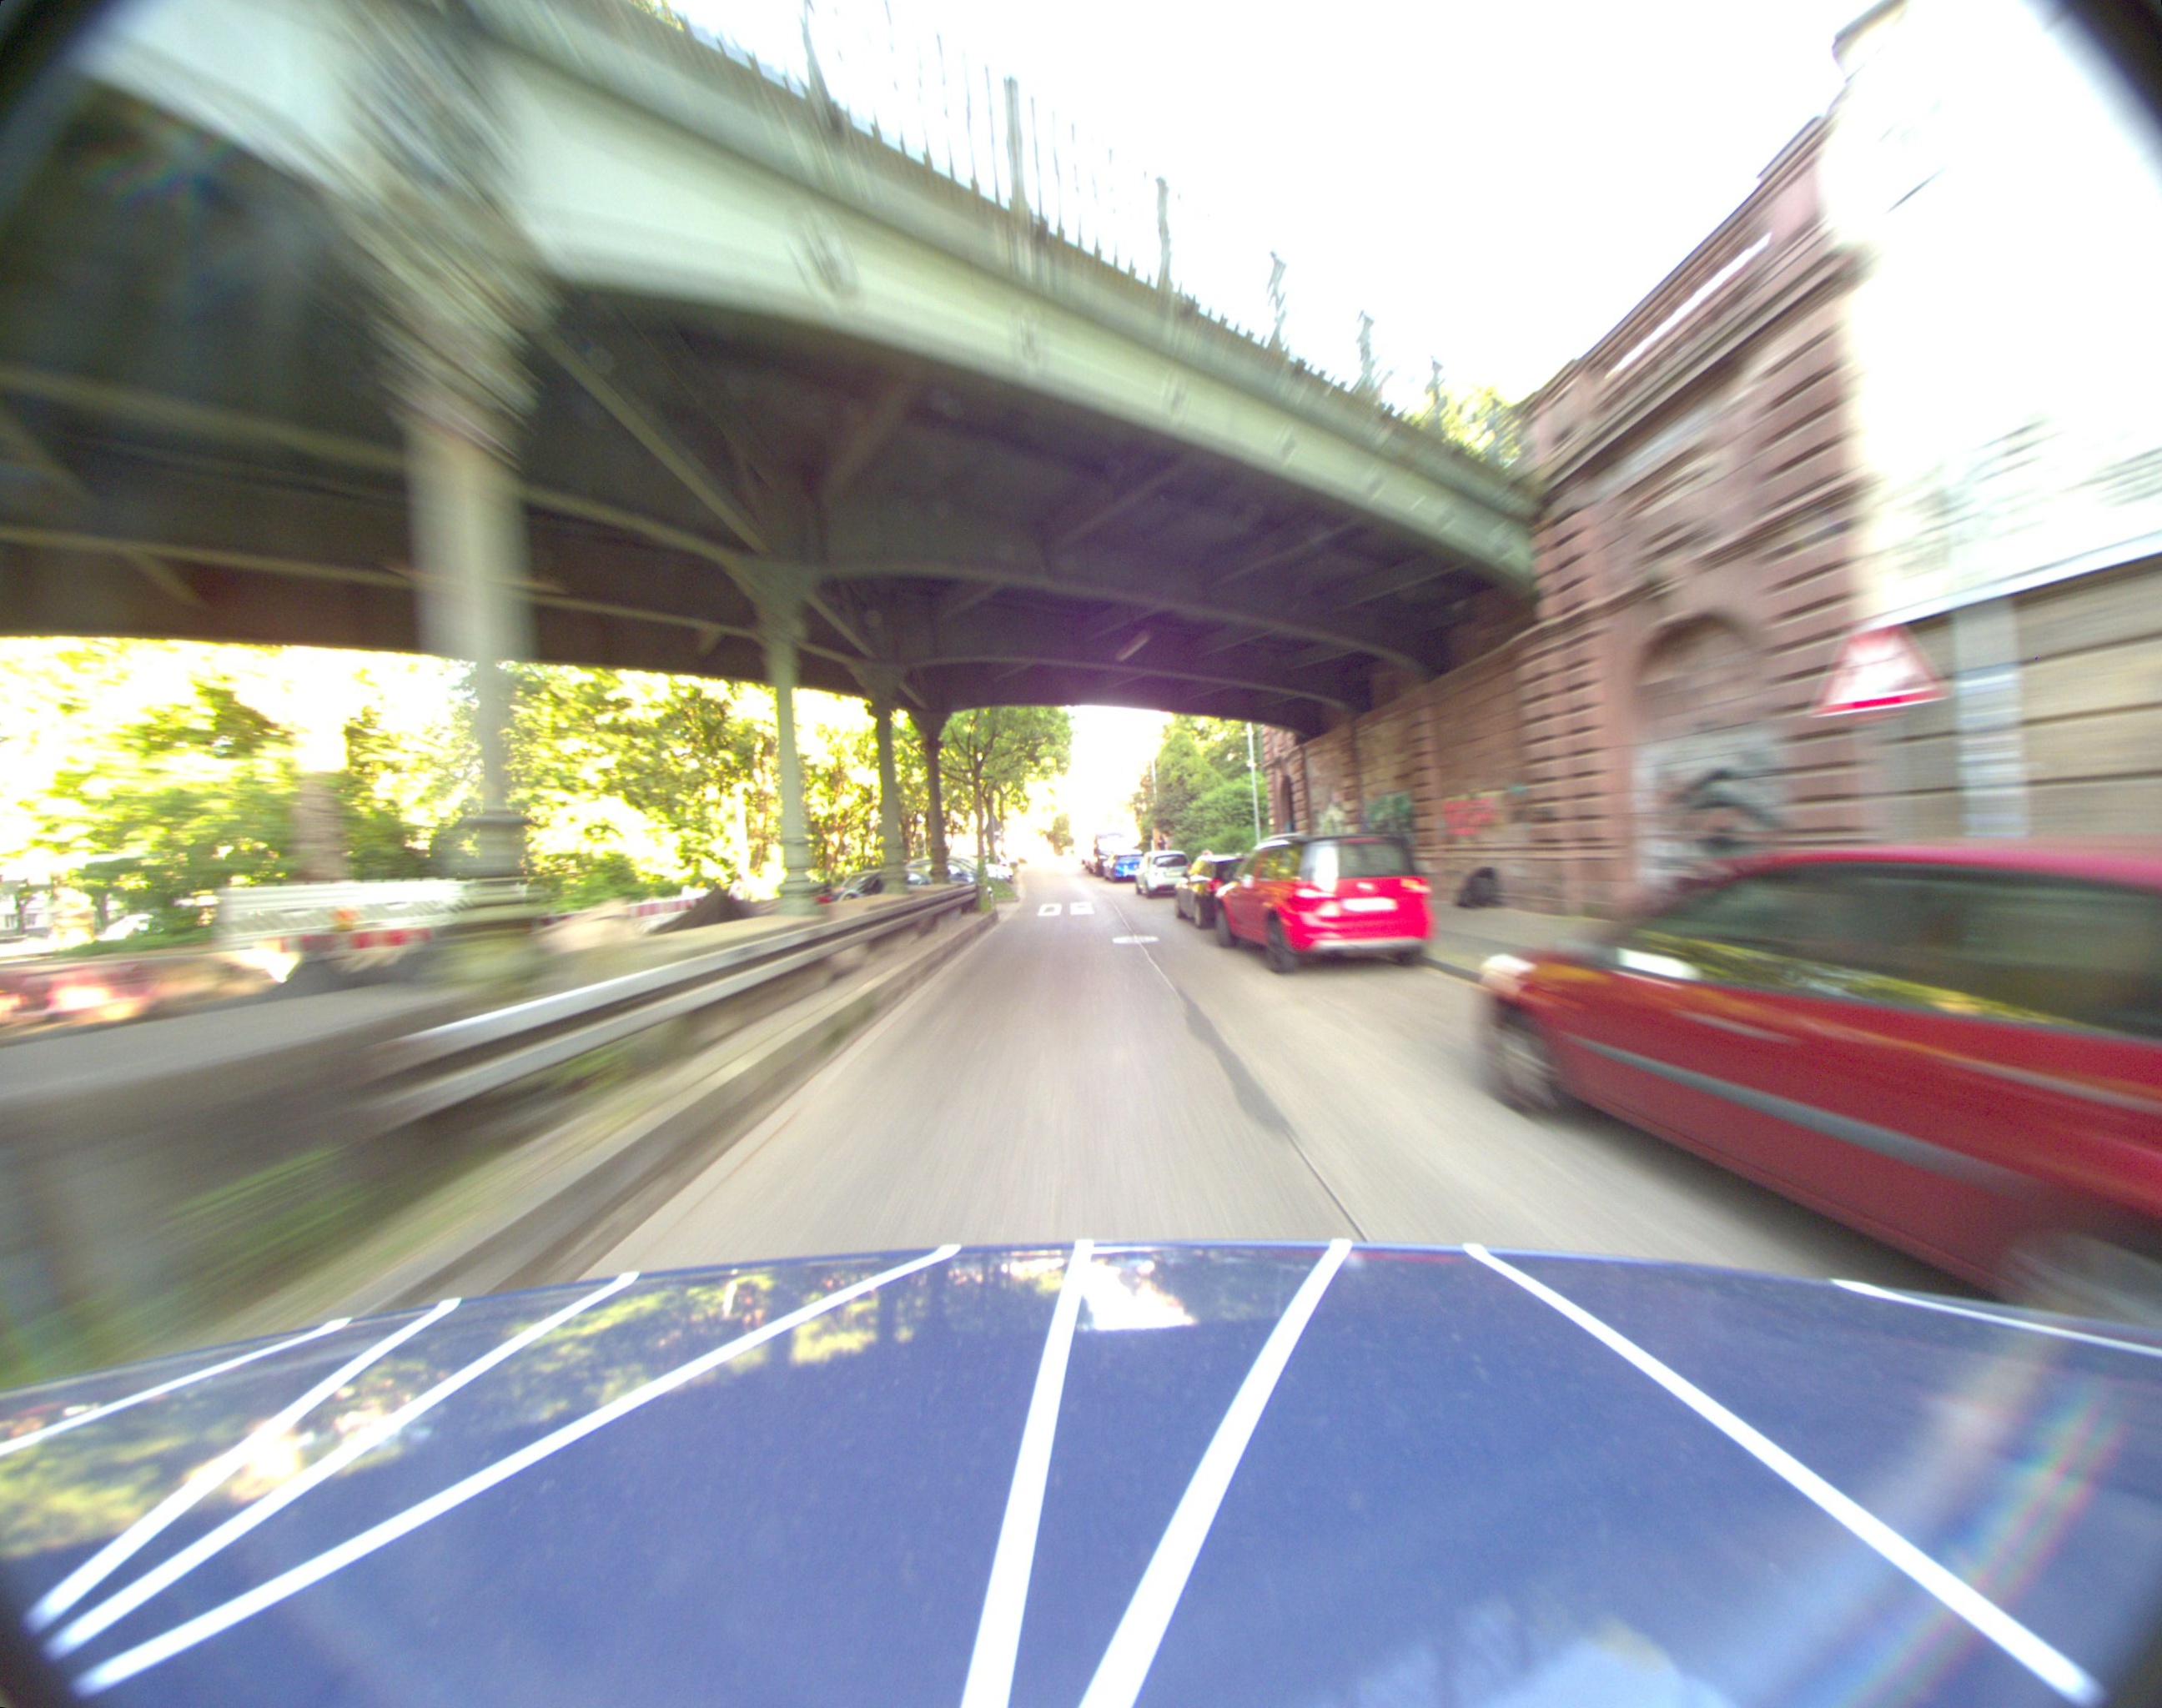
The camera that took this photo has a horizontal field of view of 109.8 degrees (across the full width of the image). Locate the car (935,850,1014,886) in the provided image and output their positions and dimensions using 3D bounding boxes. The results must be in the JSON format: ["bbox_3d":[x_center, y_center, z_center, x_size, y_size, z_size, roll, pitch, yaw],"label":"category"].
[{"bbox_3d":[-5.747,0.748,41.344,4.032,1.565,1.586,-5,2,-3],"label":"car"}]

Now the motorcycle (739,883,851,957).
[{"bbox_3d":[-5.341,1.194,14.235,1.728,1.126,0.711,-7,3,-35],"label":"motorcycle"}]

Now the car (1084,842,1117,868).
[{"bbox_3d":[1.217,0.025,48.433,1.704,1.499,4.226,-3,2,-3],"label":"car"}]

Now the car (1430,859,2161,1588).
[{"bbox_3d":[3.137,0.819,2.856,1.693,1.433,3.999,-4,1,-1],"label":"car"}]

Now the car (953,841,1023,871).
[{"bbox_3d":[-6.517,0.130,53.604,4.684,1.914,1.871,-2,2,-3],"label":"car"}]

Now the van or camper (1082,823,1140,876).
[{"bbox_3d":[1.553,-0.312,42.085,2.242,2.509,6.417,-5,2,-4],"label":"van or camper"}]

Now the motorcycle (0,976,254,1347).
[{"bbox_3d":[-5.084,1.377,3.704,1.602,1.400,0.713,-4,2,19],"label":"motorcycle"}]

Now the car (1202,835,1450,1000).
[{"bbox_3d":[3.000,0.663,10.362,1.721,1.698,4.321,-3,1,-3],"label":"car"}]

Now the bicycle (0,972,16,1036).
[{"bbox_3d":[-15.849,2.137,10.254,1.618,0.853,0.523,-2,0,-33],"label":"bicycle"}]

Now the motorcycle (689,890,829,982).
[{"bbox_3d":[-5.013,1.241,11.892,1.839,1.126,0.849,-6,2,-24],"label":"motorcycle"}]

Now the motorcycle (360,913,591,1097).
[{"bbox_3d":[-5.308,1.300,6.680,1.602,1.400,0.713,-4,2,19],"label":"motorcycle"}]

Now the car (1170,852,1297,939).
[{"bbox_3d":[2.995,0.741,15.717,1.721,1.455,3.999,-3,1,-1],"label":"car"}]

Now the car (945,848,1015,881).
[{"bbox_3d":[-6.122,0.614,46.471,3.998,1.565,1.586,-5,2,-3],"label":"car"}]

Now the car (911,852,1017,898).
[{"bbox_3d":[-5.122,0.910,33.839,4.386,1.524,1.875,-5,2,-3],"label":"car"}]

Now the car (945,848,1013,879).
[{"bbox_3d":[-6.543,0.575,48.821,3.997,1.565,1.665,-5,2,1],"label":"car"}]

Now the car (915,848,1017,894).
[{"bbox_3d":[-5.433,0.773,36.389,4.545,1.686,1.906,-5,2,-3],"label":"car"}]

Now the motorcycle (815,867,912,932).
[{"bbox_3d":[-5.046,1.022,17.626,1.938,1.231,0.903,-6,2,-26],"label":"motorcycle"}]

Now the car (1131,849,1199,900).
[{"bbox_3d":[2.806,0.650,26.266,1.599,1.538,3.913,-3,1,-4],"label":"car"}]

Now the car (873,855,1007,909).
[{"bbox_3d":[-5.233,1.027,28.644,4.597,1.597,1.734,-4,2,2],"label":"car"}]

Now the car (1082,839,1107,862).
[{"bbox_3d":[0.969,-0.264,56.209,1.703,1.489,4.548,-2,2,0],"label":"car"}]

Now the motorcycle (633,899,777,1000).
[{"bbox_3d":[-5.188,1.299,10.607,1.606,1.126,0.711,-6,2,-18],"label":"motorcycle"}]

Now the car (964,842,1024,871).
[{"bbox_3d":[-6.380,0.168,56.200,3.996,1.748,1.798,-5,2,3],"label":"car"}]

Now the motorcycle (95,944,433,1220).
[{"bbox_3d":[-5.049,1.341,4.716,1.602,1.400,0.713,-4,2,19],"label":"motorcycle"}]

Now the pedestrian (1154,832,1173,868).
[{"bbox_3d":[4.524,-0.240,41.653,0.639,1.904,1.046,-5,2,-8],"label":"pedestrian"}]

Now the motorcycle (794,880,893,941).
[{"bbox_3d":[-4.977,1.157,15.939,1.728,1.024,0.810,-7,3,-35],"label":"motorcycle"}]

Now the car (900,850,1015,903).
[{"bbox_3d":[-5.010,0.878,31.328,4.387,1.699,1.905,-5,2,-5],"label":"car"}]

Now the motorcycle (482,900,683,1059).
[{"bbox_3d":[-4.972,1.240,7.596,1.602,1.400,0.713,-4,2,19],"label":"motorcycle"}]

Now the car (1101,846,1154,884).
[{"bbox_3d":[2.127,0.453,35.983,1.749,1.458,4.372,-5,2,-5],"label":"car"}]

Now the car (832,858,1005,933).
[{"bbox_3d":[-4.442,1.107,21.291,4.386,1.569,1.673,-5,2,-3],"label":"car"}]

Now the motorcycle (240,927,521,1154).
[{"bbox_3d":[-5.124,1.319,5.583,1.602,1.400,0.713,-4,2,19],"label":"motorcycle"}]
